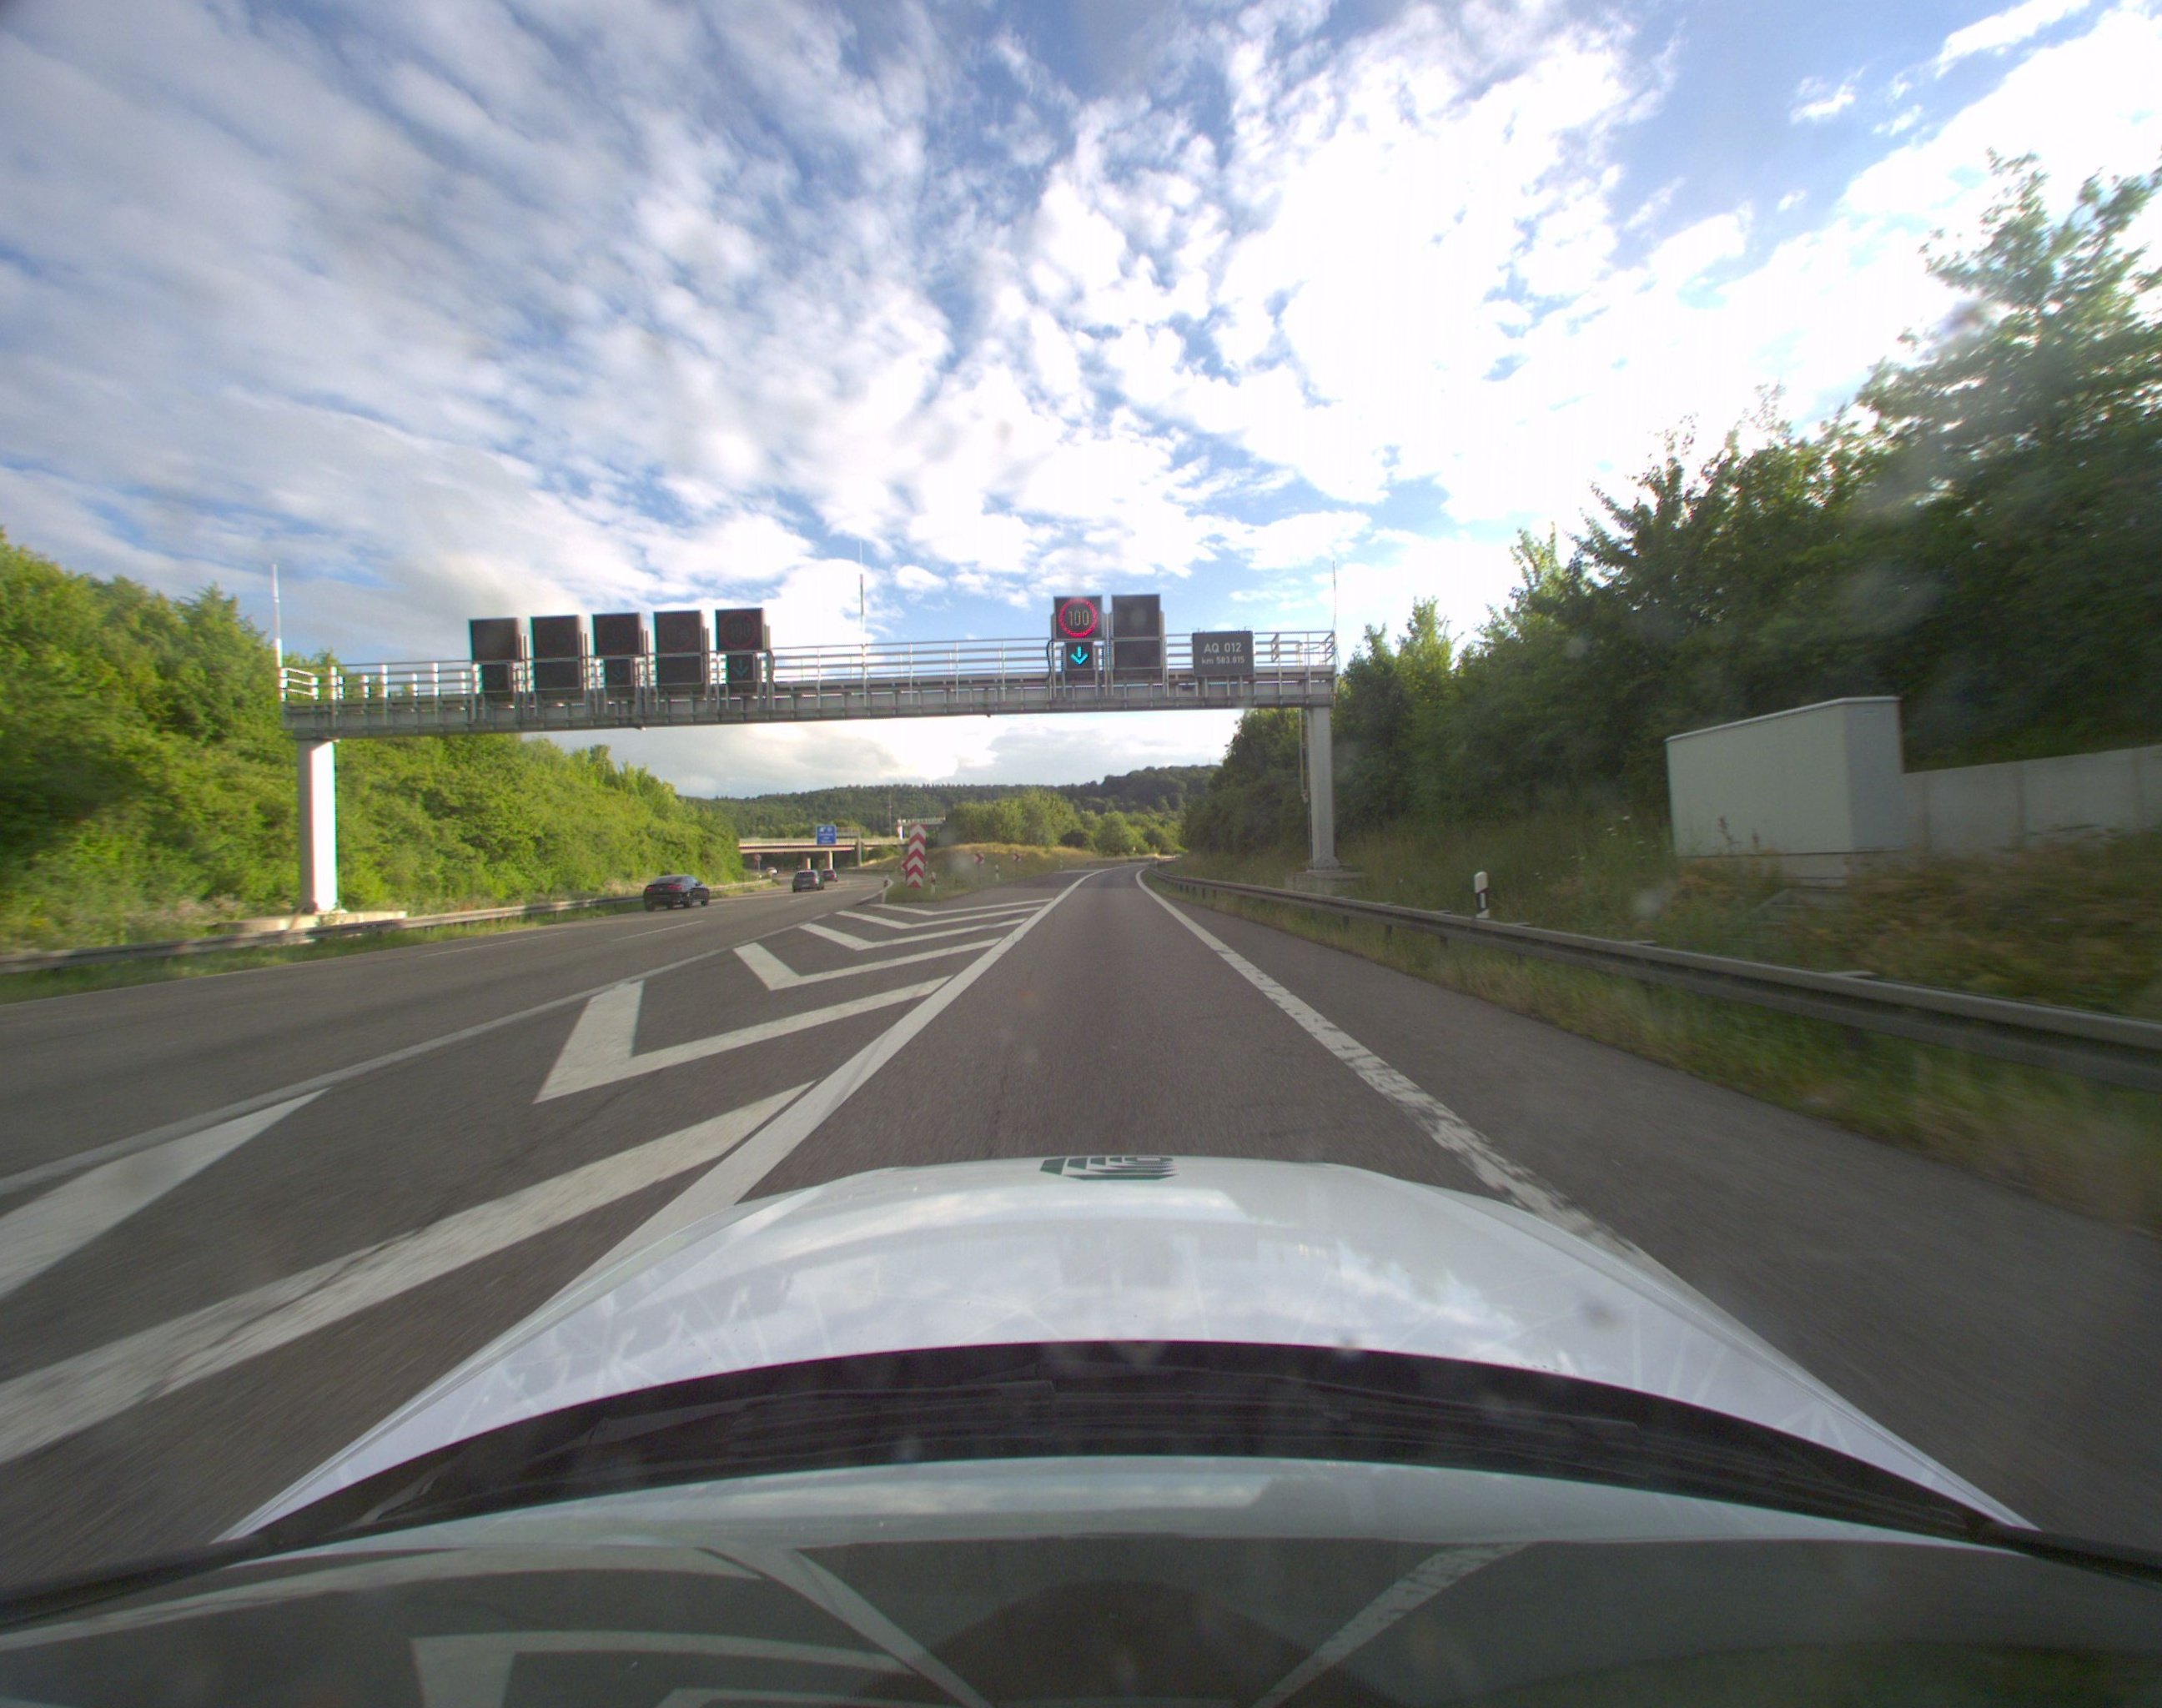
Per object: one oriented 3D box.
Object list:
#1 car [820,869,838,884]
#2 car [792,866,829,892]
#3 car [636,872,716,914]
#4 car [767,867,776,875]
[{"bbox_3d":[-27.082,2.361,87.552,1.607,1.466,3.509,-4,0,-15],"label":"car"},{"bbox_3d":[-18.163,1.671,54.780,1.739,1.466,3.772,-7,0,-11],"label":"car"},{"bbox_3d":[-18.739,1.750,37.870,1.829,1.635,3.993,-5,0,-4],"label":"car"},{"bbox_3d":[-64.714,3.605,170.367,1.744,1.466,3.612,-3,0,-21],"label":"car"}]
